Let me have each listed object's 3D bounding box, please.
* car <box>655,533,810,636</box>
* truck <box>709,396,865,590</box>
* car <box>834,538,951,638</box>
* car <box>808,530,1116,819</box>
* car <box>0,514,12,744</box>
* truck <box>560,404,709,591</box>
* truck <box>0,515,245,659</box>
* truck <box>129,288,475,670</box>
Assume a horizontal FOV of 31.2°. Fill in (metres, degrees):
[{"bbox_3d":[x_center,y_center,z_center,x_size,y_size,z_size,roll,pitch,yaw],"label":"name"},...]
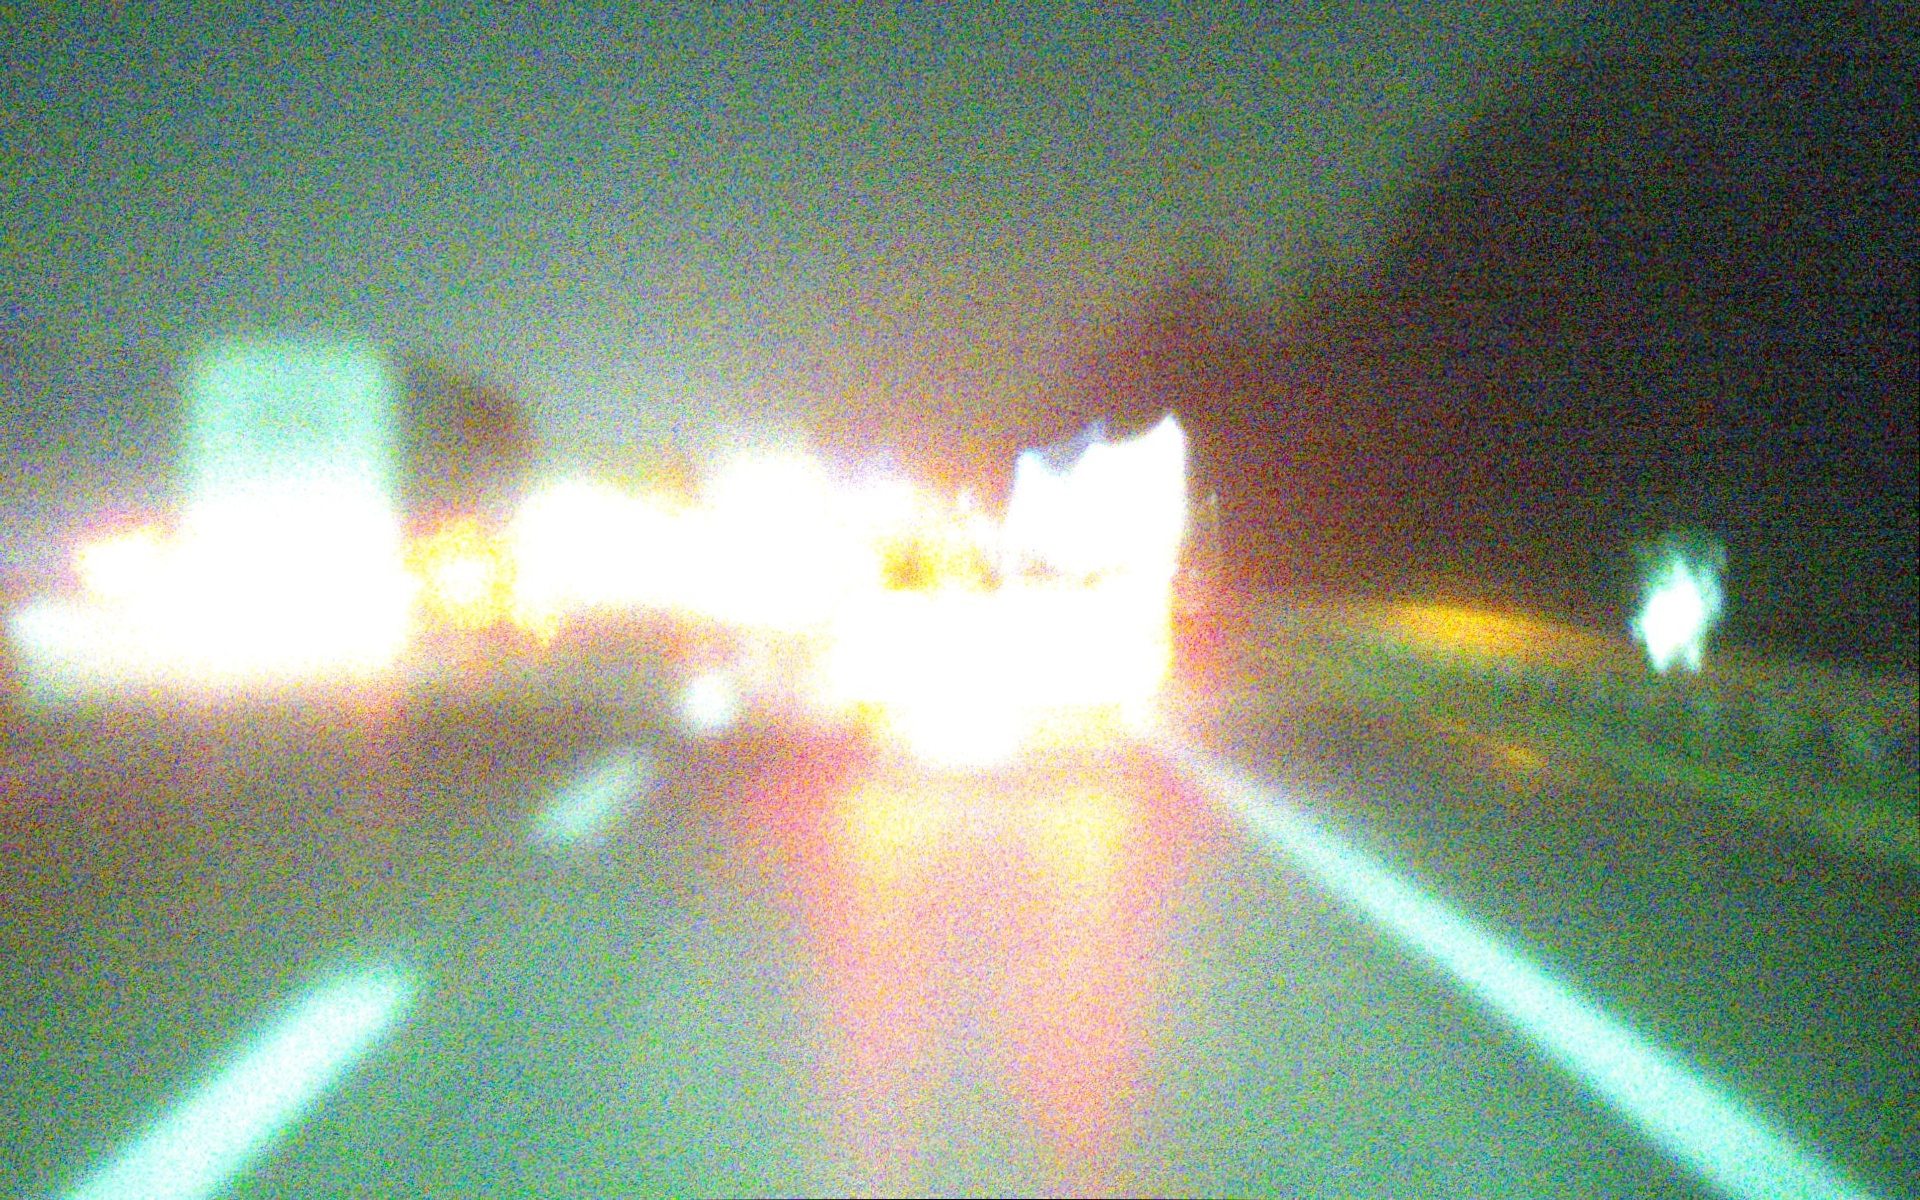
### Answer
[{"bbox_3d":[-4.651,-0.350,71.285,2.833,2.007,5.510,1,1,0],"label":"car"},{"bbox_3d":[-4.993,-2.976,98.420,4.161,5.197,9.955,1,1,-3],"label":"truck"},{"bbox_3d":[-1.190,-0.237,61.795,1.993,1.698,4.459,1,1,0],"label":"car"},{"bbox_3d":[0.015,0.432,23.282,1.878,1.756,4.000,1,1,0],"label":"car"},{"bbox_3d":[-8.153,0.240,24.310,2.038,1.755,4.517,1,1,-6],"label":"car"},{"bbox_3d":[-9.966,-3.098,106.480,4.253,5.425,10.886,1,1,-4],"label":"truck"},{"bbox_3d":[-13.601,-0.245,56.249,2.857,2.193,5.859,1,1,-3],"label":"truck"},{"bbox_3d":[-8.949,-1.589,48.055,3.655,4.721,9.854,1,1,-5],"label":"truck"}]
